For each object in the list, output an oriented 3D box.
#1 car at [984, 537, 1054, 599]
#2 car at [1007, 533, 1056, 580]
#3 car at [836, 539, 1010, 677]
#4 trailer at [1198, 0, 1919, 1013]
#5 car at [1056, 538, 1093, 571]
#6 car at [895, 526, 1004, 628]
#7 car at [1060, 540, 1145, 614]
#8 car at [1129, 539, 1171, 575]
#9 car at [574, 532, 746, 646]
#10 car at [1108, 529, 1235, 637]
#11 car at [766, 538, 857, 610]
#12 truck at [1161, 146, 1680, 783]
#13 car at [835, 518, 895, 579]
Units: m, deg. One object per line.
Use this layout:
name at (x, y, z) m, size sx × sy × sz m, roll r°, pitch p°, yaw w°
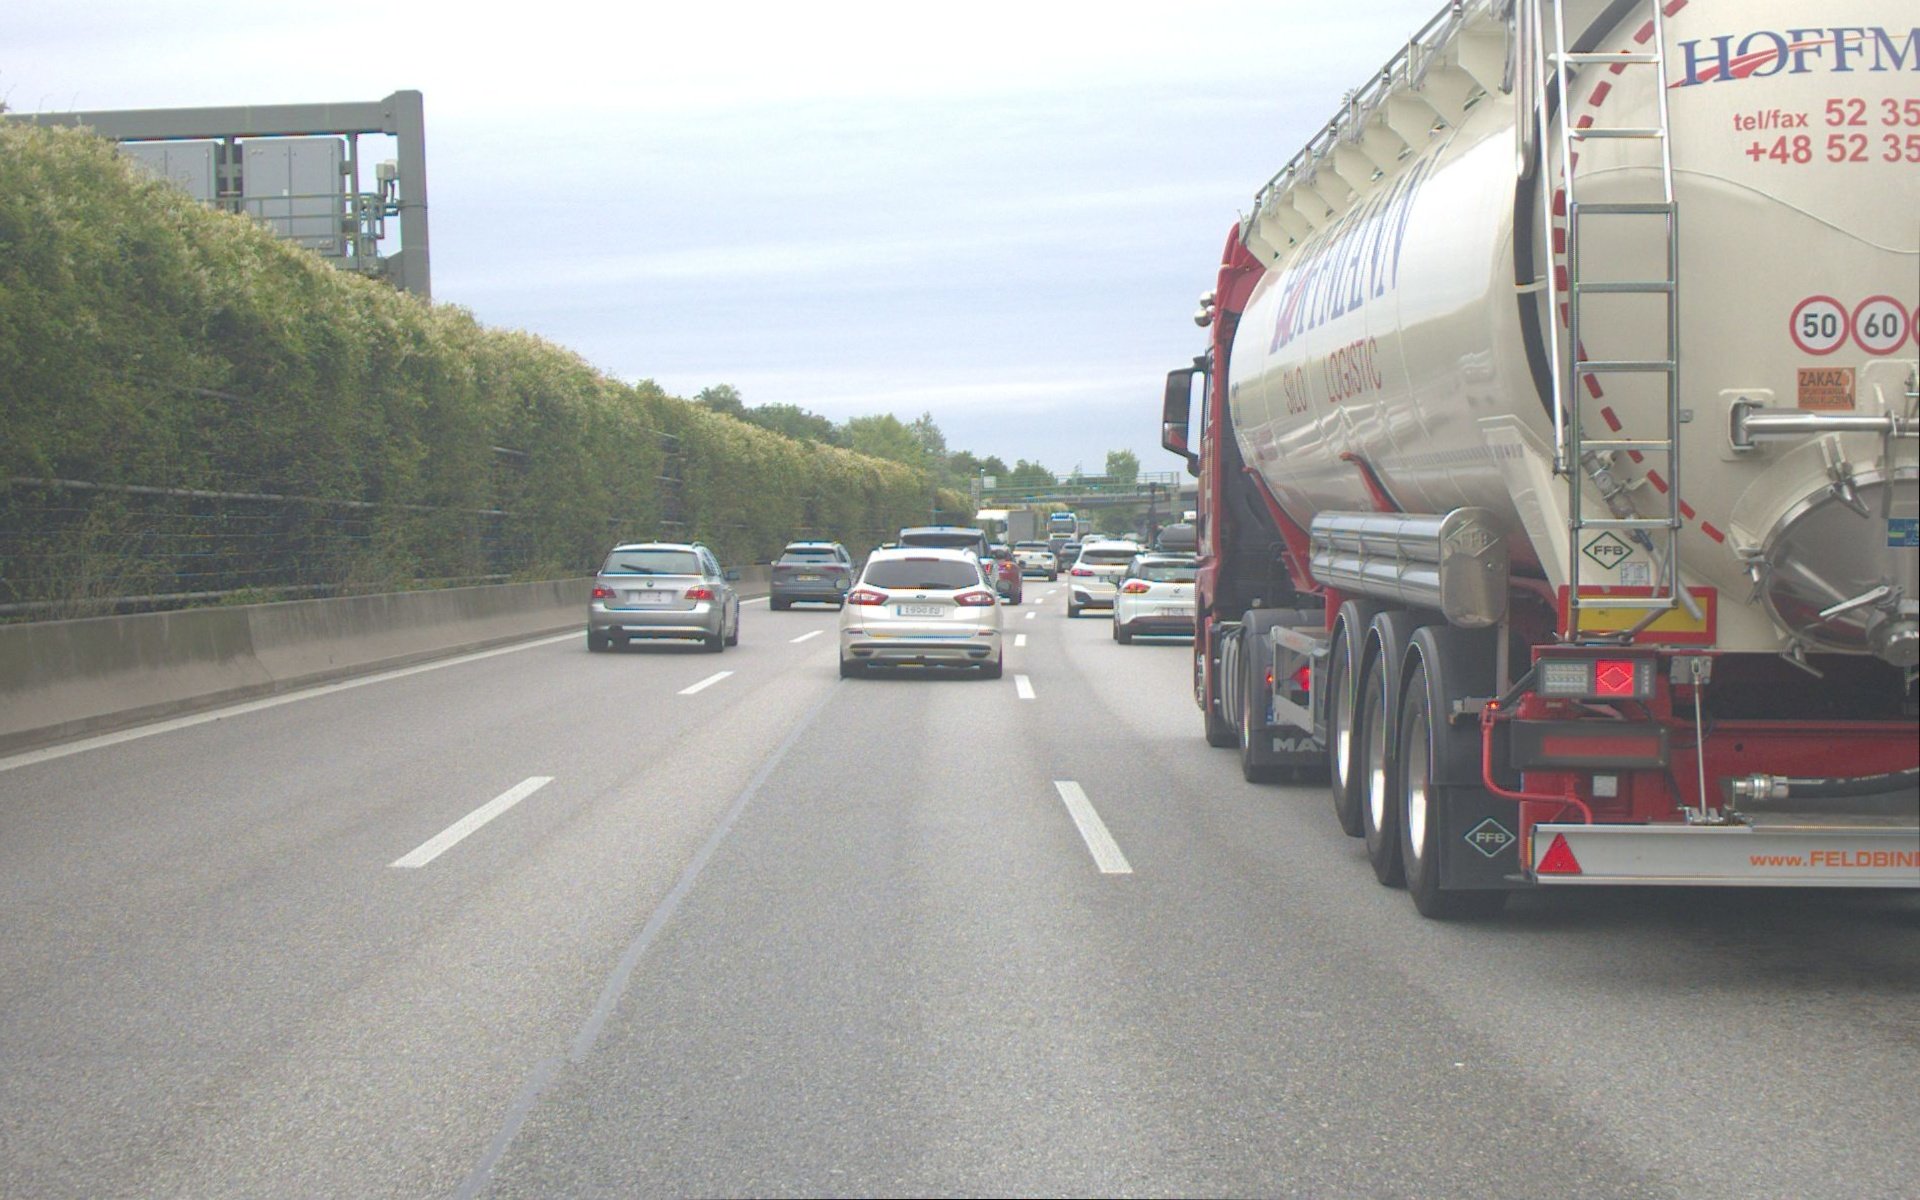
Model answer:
car at (1.450, -0.813, 84.805) m, size 1.689 × 1.501 × 3.871 m, roll 0°, pitch 1°, yaw 1°
car at (2.780, -1.685, 132.745) m, size 1.790 × 1.773 × 3.871 m, roll -1°, pitch 1°, yaw 3°
car at (-0.401, 0.046, 39.997) m, size 1.891 × 1.499 × 5.030 m, roll 0°, pitch 1°, yaw 0°
trailer at (3.066, -0.714, 17.544) m, size 2.668 × 3.925 × 13.131 m, roll 0°, pitch 1°, yaw 0°
car at (5.399, -2.154, 162.036) m, size 1.689 × 1.534 × 3.871 m, roll 0°, pitch 1°, yaw 3°
car at (-0.201, -0.421, 58.454) m, size 1.689 × 1.501 × 3.872 m, roll 4°, pitch 2°, yaw -1°
car at (2.948, -0.480, 71.649) m, size 1.689 × 1.501 × 3.871 m, roll 0°, pitch 1°, yaw 1°
car at (8.156, -1.858, 148.080) m, size 1.689 × 1.534 × 3.871 m, roll 0°, pitch 1°, yaw 1°
car at (-4.111, -0.196, 47.763) m, size 1.720 × 1.464 × 5.030 m, roll 0°, pitch 2°, yaw 3°
car at (3.277, -0.301, 53.976) m, size 1.816 × 1.620 × 5.030 m, roll 0°, pitch 1°, yaw 1°
car at (-3.201, -0.591, 74.818) m, size 1.720 × 1.507 × 5.030 m, roll 0°, pitch 1°, yaw 0°
truck at (3.018, -0.867, 24.367) m, size 2.695 × 3.899 × 6.557 m, roll 0°, pitch 1°, yaw -1°
car at (-3.198, -1.739, 115.819) m, size 1.993 × 2.007 × 3.841 m, roll 0°, pitch 1°, yaw -2°
